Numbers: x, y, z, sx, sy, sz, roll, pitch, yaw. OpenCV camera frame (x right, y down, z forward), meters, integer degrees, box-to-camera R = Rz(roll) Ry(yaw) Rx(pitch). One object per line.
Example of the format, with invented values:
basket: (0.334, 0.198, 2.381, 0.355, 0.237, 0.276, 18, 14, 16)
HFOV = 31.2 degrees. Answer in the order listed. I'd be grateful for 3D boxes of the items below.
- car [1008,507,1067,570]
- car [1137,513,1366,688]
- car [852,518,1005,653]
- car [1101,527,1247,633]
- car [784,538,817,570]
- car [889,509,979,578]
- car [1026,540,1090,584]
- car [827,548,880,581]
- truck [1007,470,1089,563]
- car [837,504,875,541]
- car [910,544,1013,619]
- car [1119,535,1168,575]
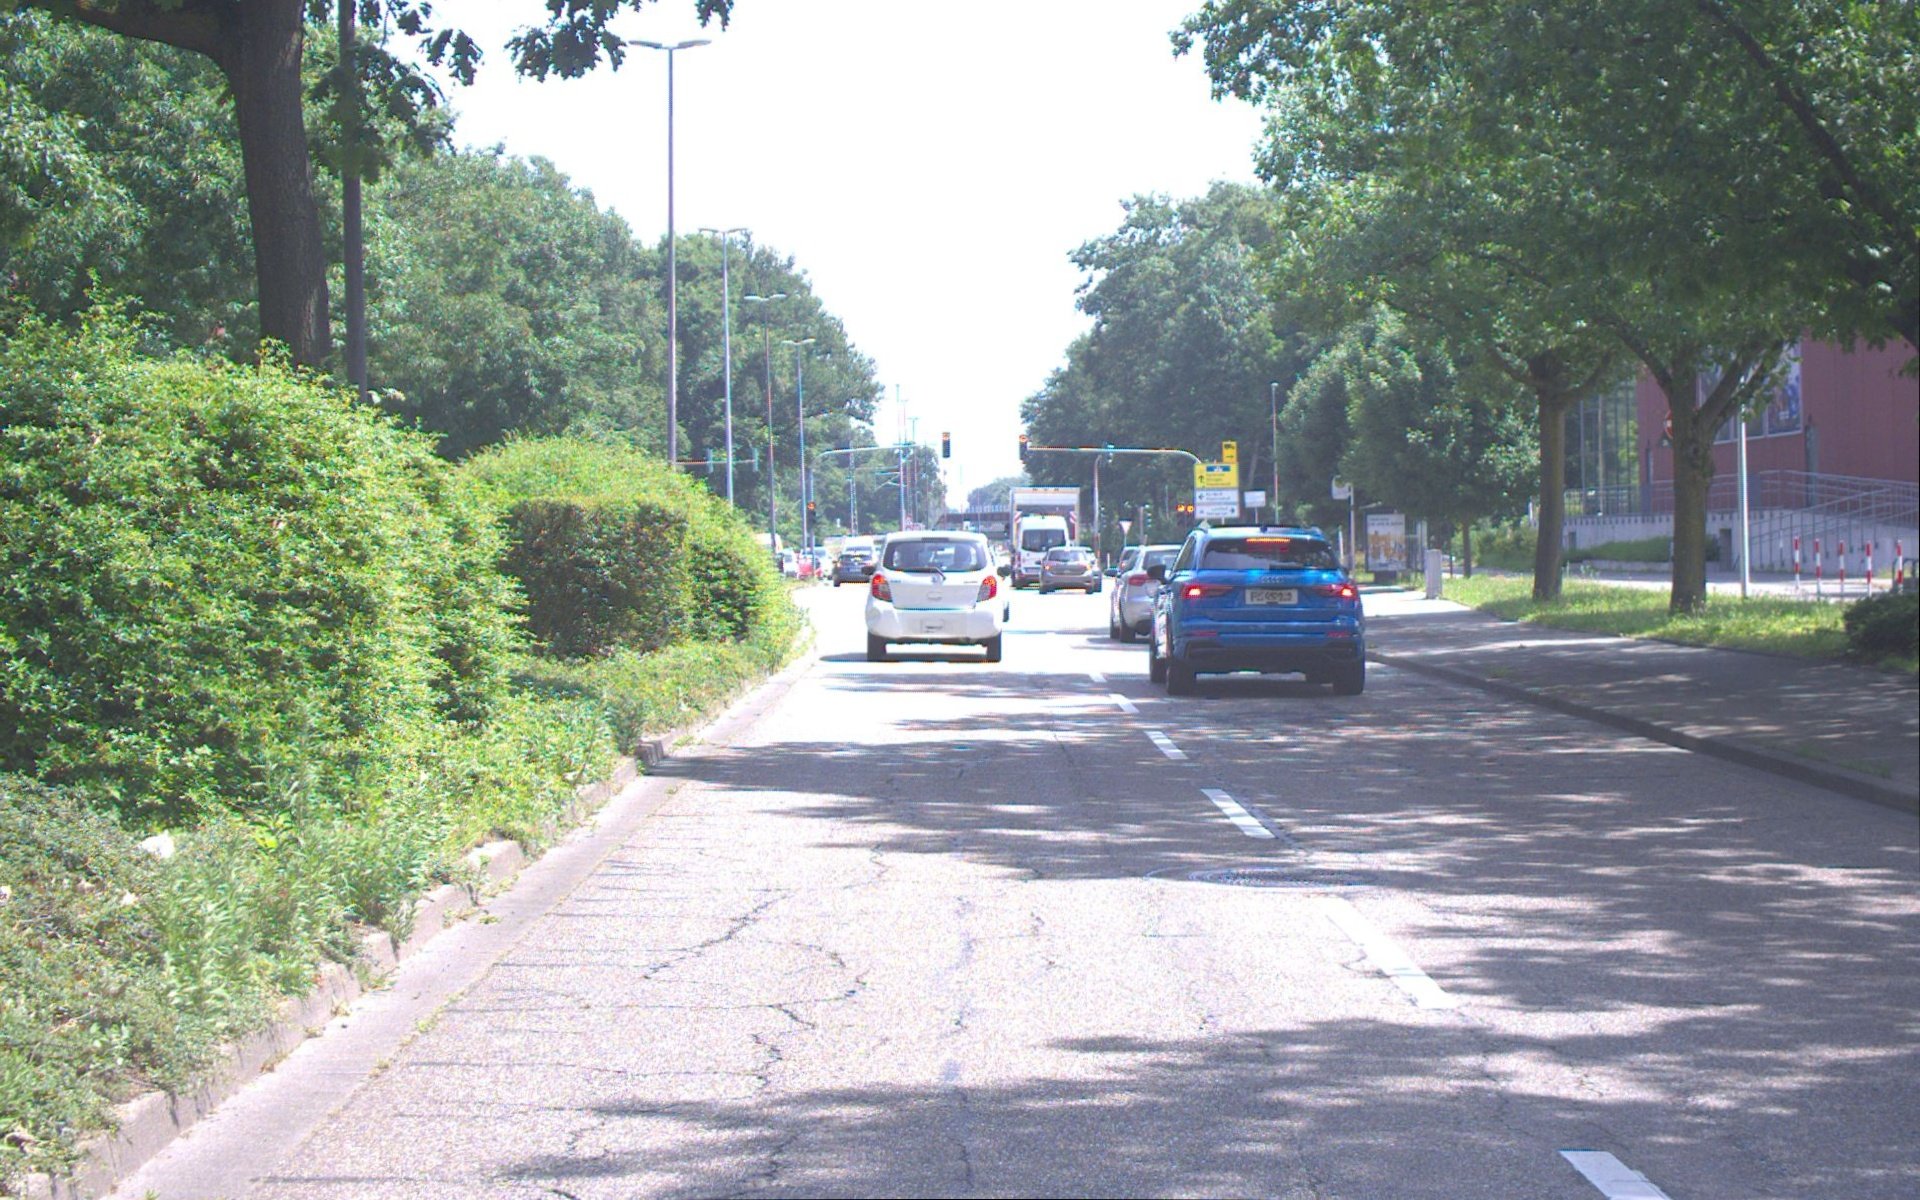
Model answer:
car: (2.823, -2.254, 125.774, 1.993, 2.248, 4.000, -1, 1, 0)
car: (2.773, -0.016, 33.519, 1.808, 1.587, 4.349, 0, 0, -1)
car: (-0.414, -0.176, 41.393, 1.638, 1.547, 3.325, -1, 0, -4)
car: (3.092, -0.298, 50.356, 1.865, 1.468, 4.000, 0, 0, 0)
car: (-6.850, -1.986, 147.237, 1.368, 1.304, 2.694, -2, 1, -3)
car: (-0.617, -1.276, 78.609, 1.794, 1.518, 4.001, 0, 0, -4)
car: (3.108, -1.242, 110.016, 1.865, 1.305, 4.000, -2, 1, -1)
car: (-4.355, -1.462, 140.907, 1.993, 1.284, 4.000, -1, 1, 0)
truck: (3.433, -3.284, 136.163, 2.932, 3.490, 9.158, -1, 1, 0)
car: (-5.792, -4.327, 191.556, 1.993, 2.007, 4.000, -2, 1, -2)
car: (0.033, -0.355, 64.609, 1.885, 1.349, 4.000, 0, 0, 0)
car: (6.974, -1.728, 130.873, 1.633, 1.459, 4.000, -1, 1, 0)
